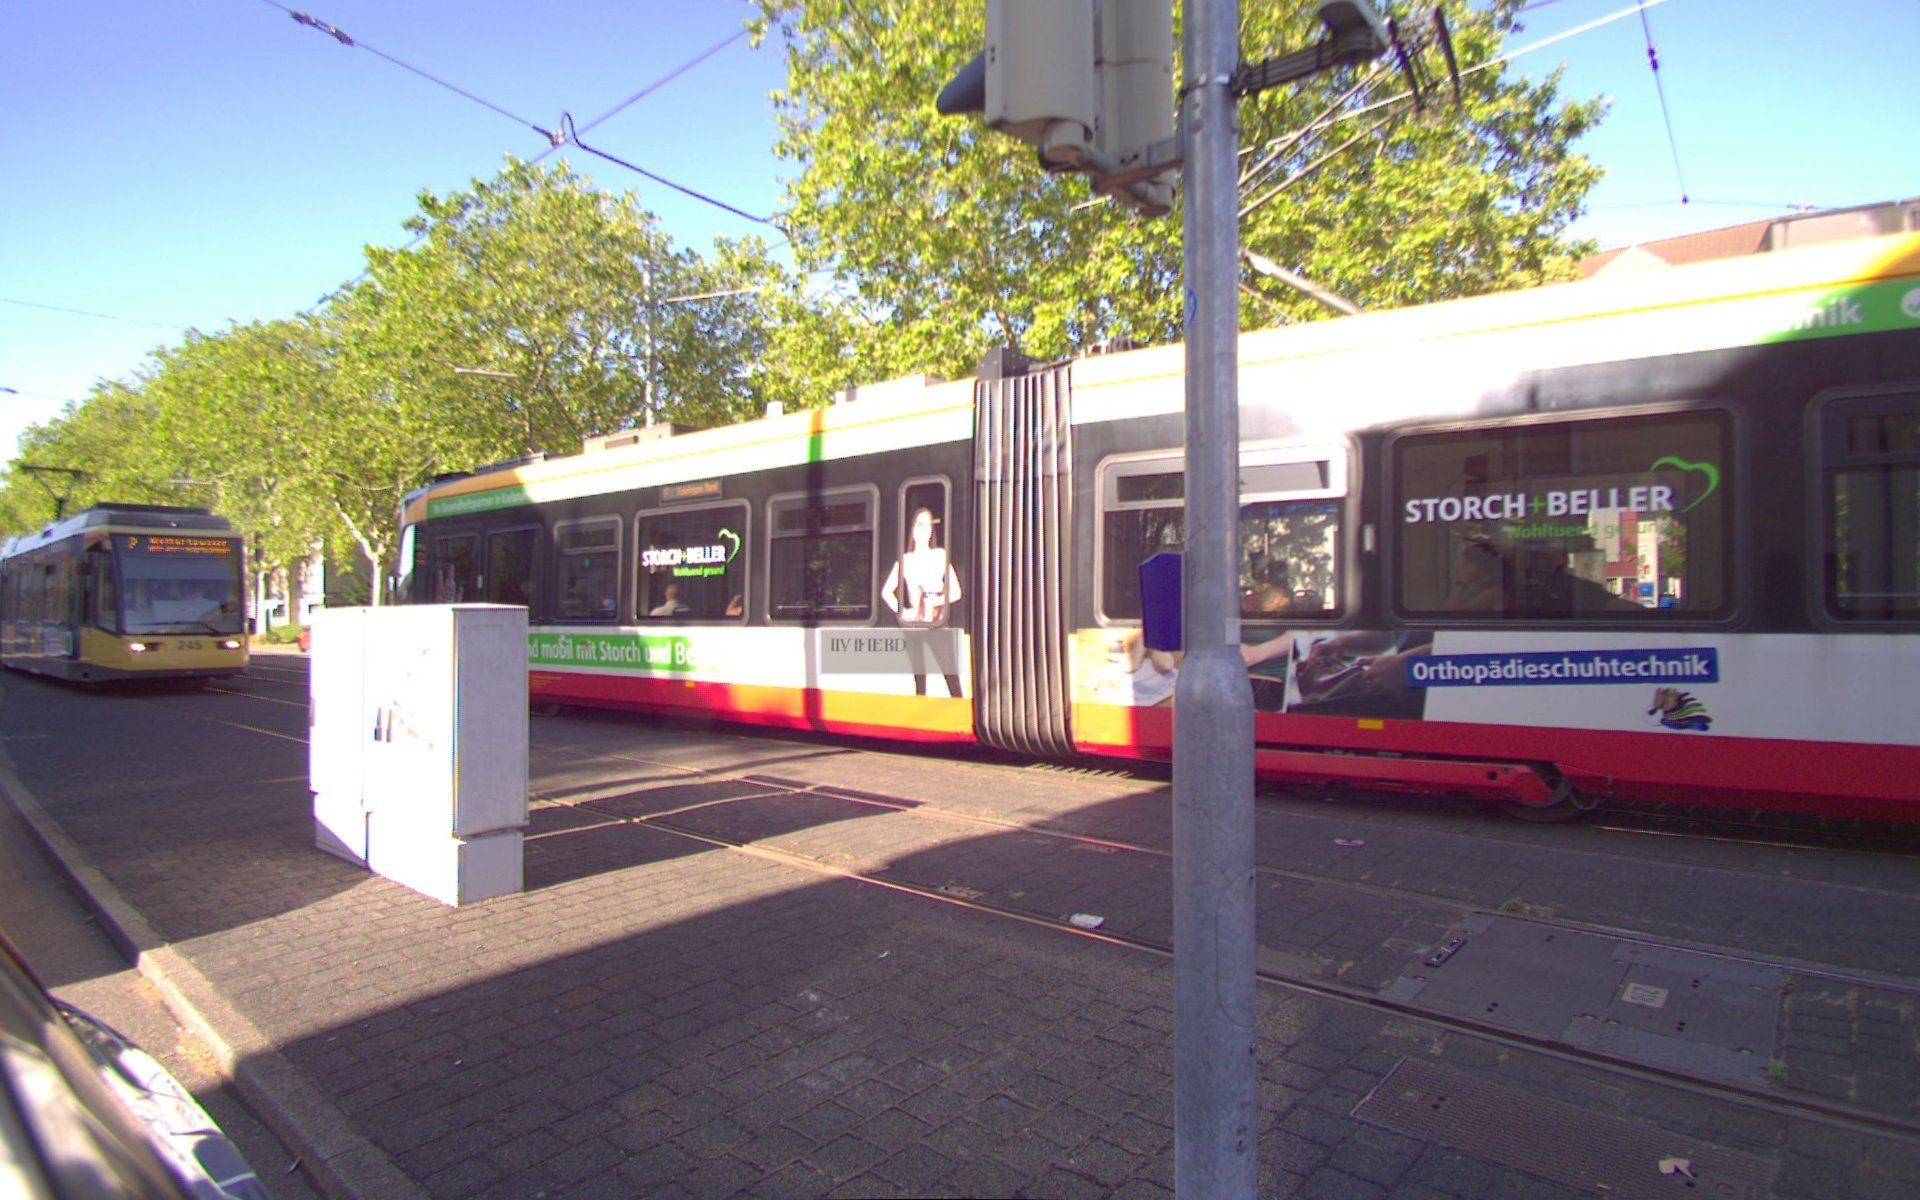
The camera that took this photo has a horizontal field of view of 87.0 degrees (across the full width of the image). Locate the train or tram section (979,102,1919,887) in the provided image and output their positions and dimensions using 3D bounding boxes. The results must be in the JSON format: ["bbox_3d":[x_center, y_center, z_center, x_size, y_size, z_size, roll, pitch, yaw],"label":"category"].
[{"bbox_3d":[6.315,-0.522,5.651,12.779,3.843,2.909,-1,-1,32],"label":"train or tram section"}]

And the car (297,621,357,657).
[{"bbox_3d":[-28.683,1.747,45.832,2.621,1.519,1.579,-1,1,41],"label":"car"}]

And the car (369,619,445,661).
[{"bbox_3d":[-21.873,1.550,40.004,3.303,1.519,1.579,-1,1,41],"label":"car"}]

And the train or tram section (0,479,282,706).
[{"bbox_3d":[-18.046,-0.004,21.623,12.646,3.692,2.683,-1,-1,41],"label":"train or tram section"}]

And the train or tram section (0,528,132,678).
[{"bbox_3d":[-27.574,0.190,29.886,12.646,3.692,2.683,-1,-1,41],"label":"train or tram section"}]

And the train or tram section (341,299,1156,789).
[{"bbox_3d":[-3.981,-0.326,13.205,13.040,3.843,2.903,-1,-1,39],"label":"train or tram section"}]

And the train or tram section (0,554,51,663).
[{"bbox_3d":[-37.109,0.389,38.136,12.646,3.692,2.683,-1,-1,41],"label":"train or tram section"}]
